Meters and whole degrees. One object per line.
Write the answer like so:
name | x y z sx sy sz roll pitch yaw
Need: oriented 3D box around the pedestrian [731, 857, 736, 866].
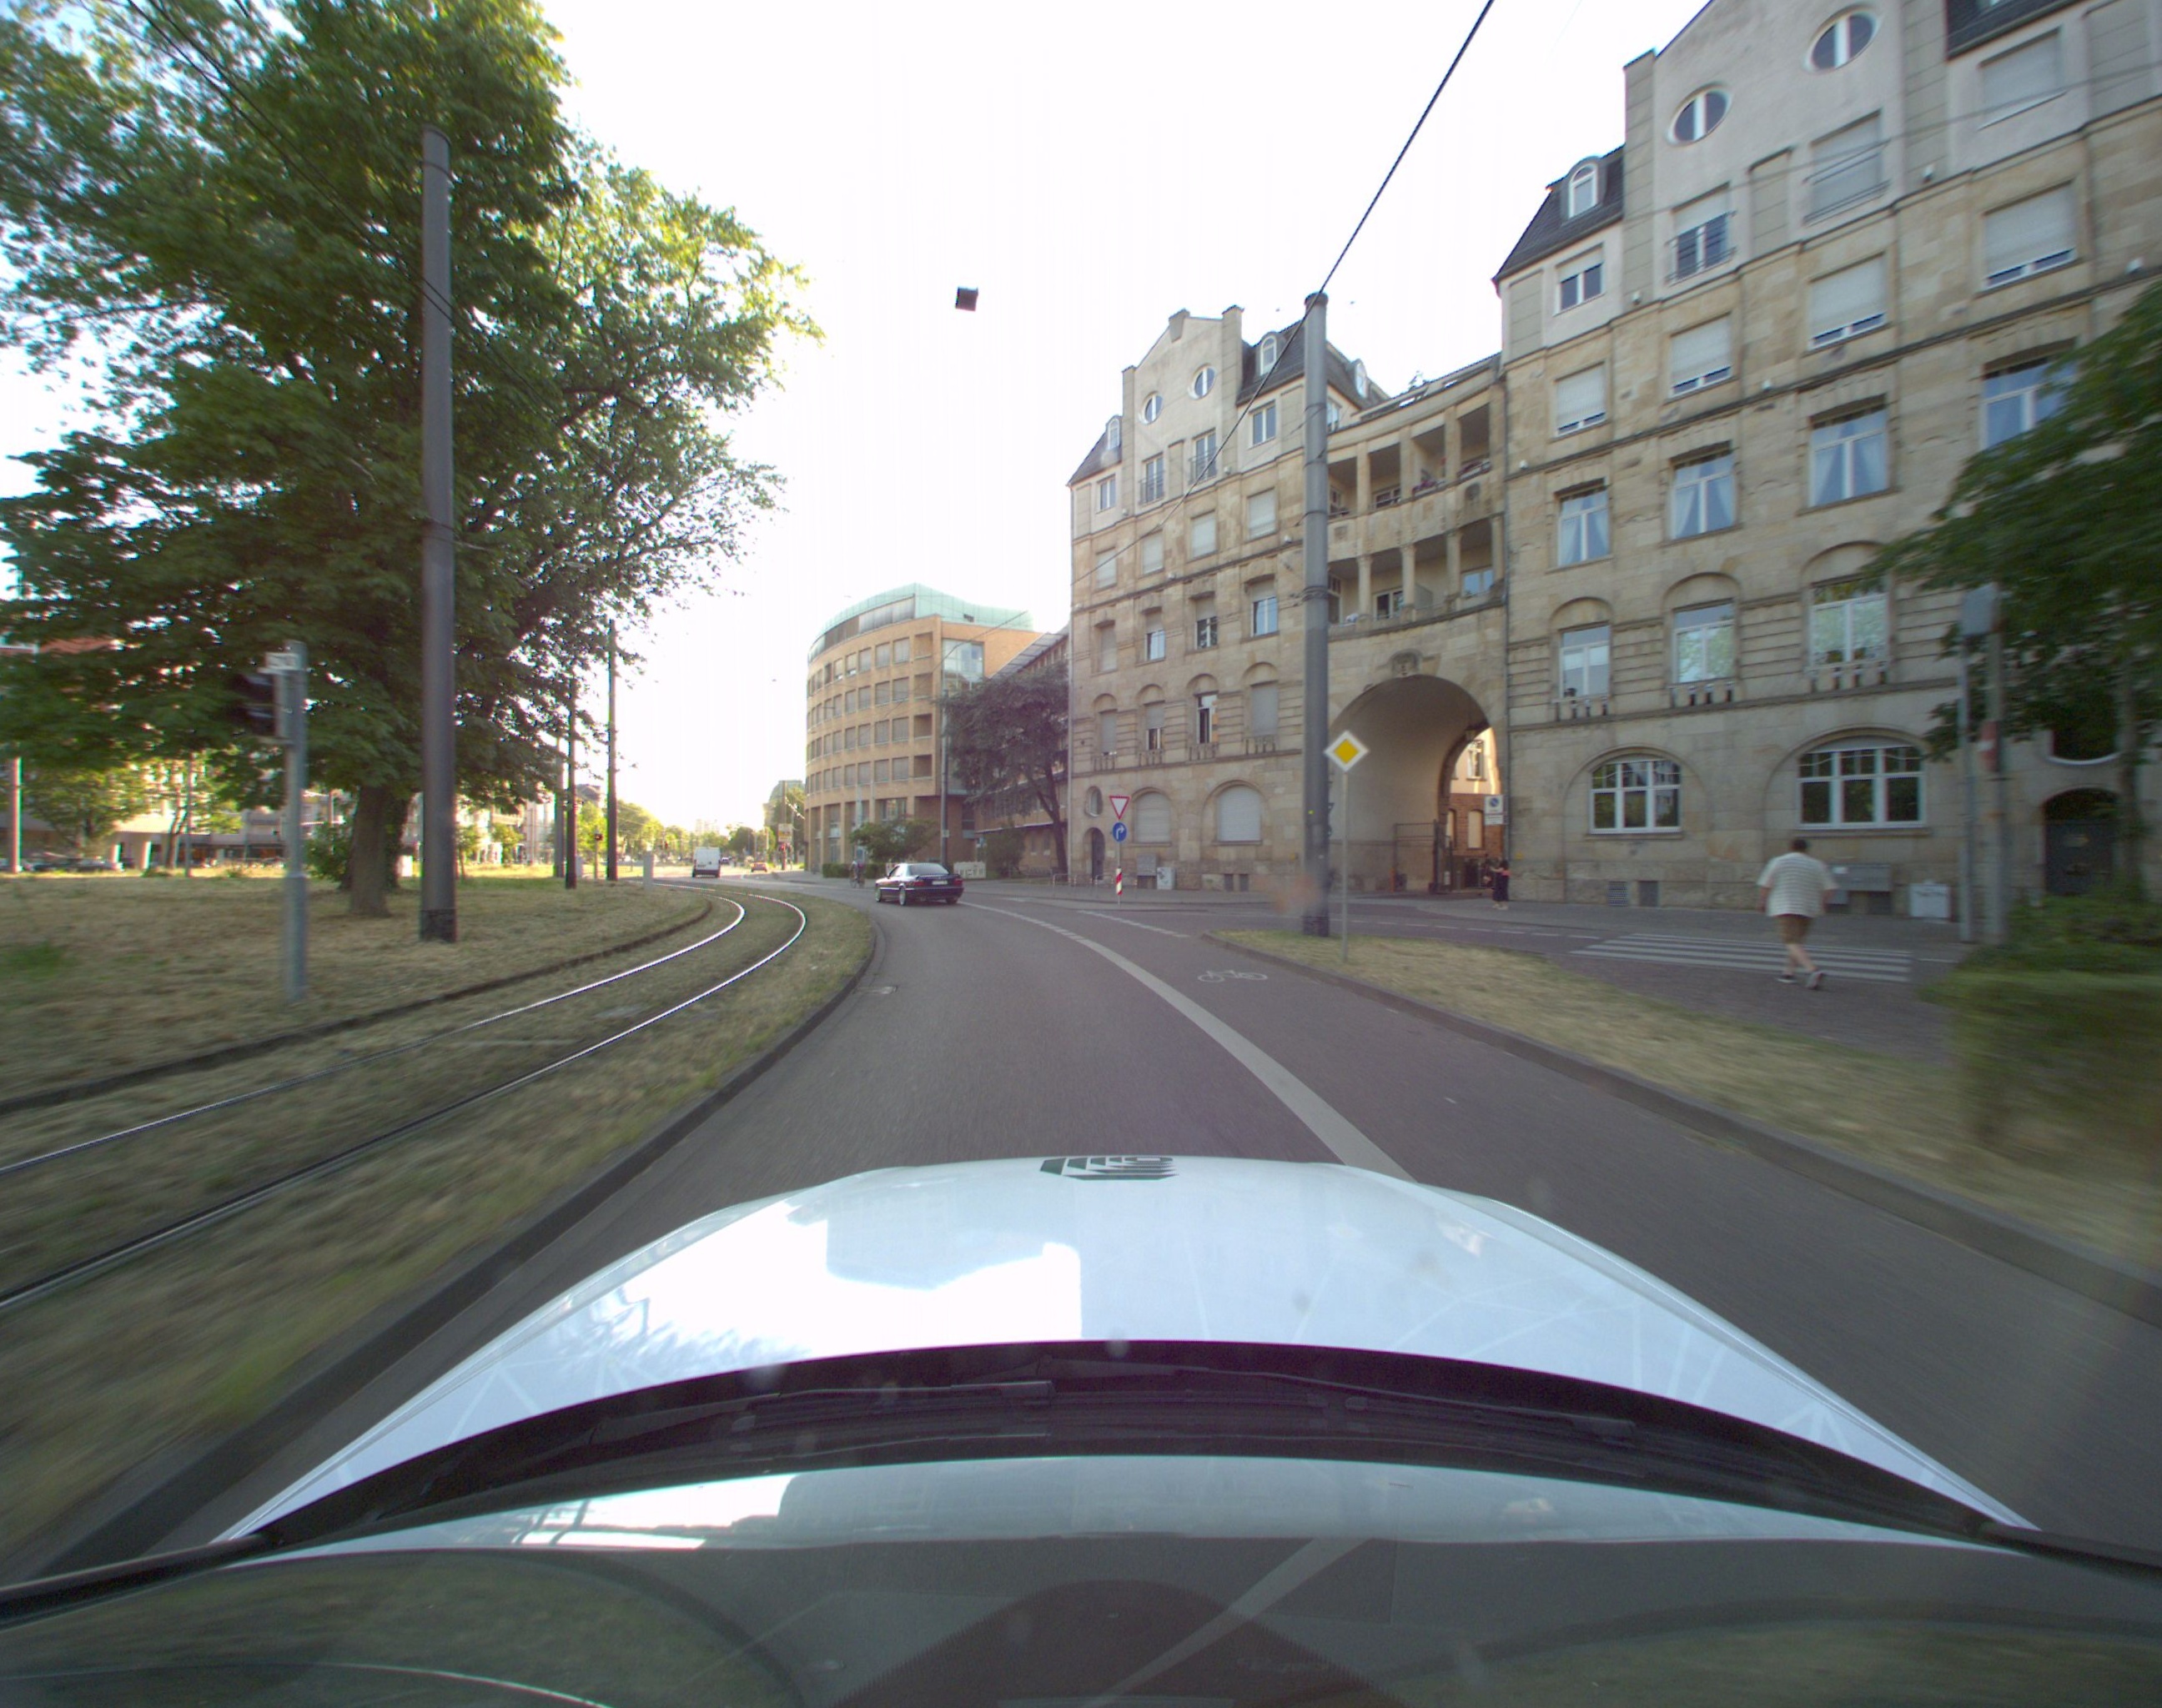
pedestrian | -58.162 1.328 136.233 0.618 1.475 0.795 0 0 -18

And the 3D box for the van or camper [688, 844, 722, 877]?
van or camper | -31.336 0.472 68.041 2.271 2.625 4.471 0 1 -21

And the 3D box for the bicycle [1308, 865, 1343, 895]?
bicycle | 9.339 0.967 31.079 0.424 1.073 1.867 0 1 45

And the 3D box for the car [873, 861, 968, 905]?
car | -5.561 0.975 27.774 1.841 1.354 4.597 -1 -1 -29

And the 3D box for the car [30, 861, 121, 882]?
car | -78.986 1.325 64.087 1.748 1.526 4.293 0 1 1

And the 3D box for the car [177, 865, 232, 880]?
car | -100.763 2.120 93.673 3.886 1.585 1.788 0 1 -28

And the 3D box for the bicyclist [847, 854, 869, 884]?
bicyclist | -11.427 0.754 41.701 0.660 1.484 1.026 3 -2 -40

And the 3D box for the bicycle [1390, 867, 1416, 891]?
bicycle | 13.928 1.069 35.223 0.476 0.955 1.521 1 1 45

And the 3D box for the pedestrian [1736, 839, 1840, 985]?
pedestrian | 9.079 0.707 10.482 0.591 1.792 0.818 0 0 -11

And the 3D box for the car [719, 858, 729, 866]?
car | -75.214 1.615 171.411 1.803 1.566 3.966 0 1 -26

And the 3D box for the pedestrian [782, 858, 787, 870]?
pedestrian | -41.769 1.385 114.694 0.680 1.569 0.794 0 0 -24

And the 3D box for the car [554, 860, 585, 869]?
car | -85.195 1.793 135.677 1.696 1.434 4.025 2 0 34

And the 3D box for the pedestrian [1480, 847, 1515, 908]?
pedestrian | 11.866 0.658 23.199 0.580 1.709 0.713 0 1 -40

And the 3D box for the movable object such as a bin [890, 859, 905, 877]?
movable object such as a bin | -15.053 1.142 66.726 0.969 1.437 1.344 0 1 -3

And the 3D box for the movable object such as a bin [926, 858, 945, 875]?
movable object such as a bin | -12.034 1.033 67.299 1.349 1.424 0.915 0 1 -30

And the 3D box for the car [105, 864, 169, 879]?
car | -107.474 1.923 92.779 4.303 1.585 1.971 0 1 -28

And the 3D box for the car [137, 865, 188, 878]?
car | -117.764 2.211 104.430 3.886 1.585 1.788 0 1 -28

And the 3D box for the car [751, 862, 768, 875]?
car | -38.391 1.728 97.220 1.791 1.354 4.234 1 0 -23

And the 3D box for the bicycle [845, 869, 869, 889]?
bicycle | -11.490 1.263 41.788 0.519 0.955 1.755 2 -1 -38
